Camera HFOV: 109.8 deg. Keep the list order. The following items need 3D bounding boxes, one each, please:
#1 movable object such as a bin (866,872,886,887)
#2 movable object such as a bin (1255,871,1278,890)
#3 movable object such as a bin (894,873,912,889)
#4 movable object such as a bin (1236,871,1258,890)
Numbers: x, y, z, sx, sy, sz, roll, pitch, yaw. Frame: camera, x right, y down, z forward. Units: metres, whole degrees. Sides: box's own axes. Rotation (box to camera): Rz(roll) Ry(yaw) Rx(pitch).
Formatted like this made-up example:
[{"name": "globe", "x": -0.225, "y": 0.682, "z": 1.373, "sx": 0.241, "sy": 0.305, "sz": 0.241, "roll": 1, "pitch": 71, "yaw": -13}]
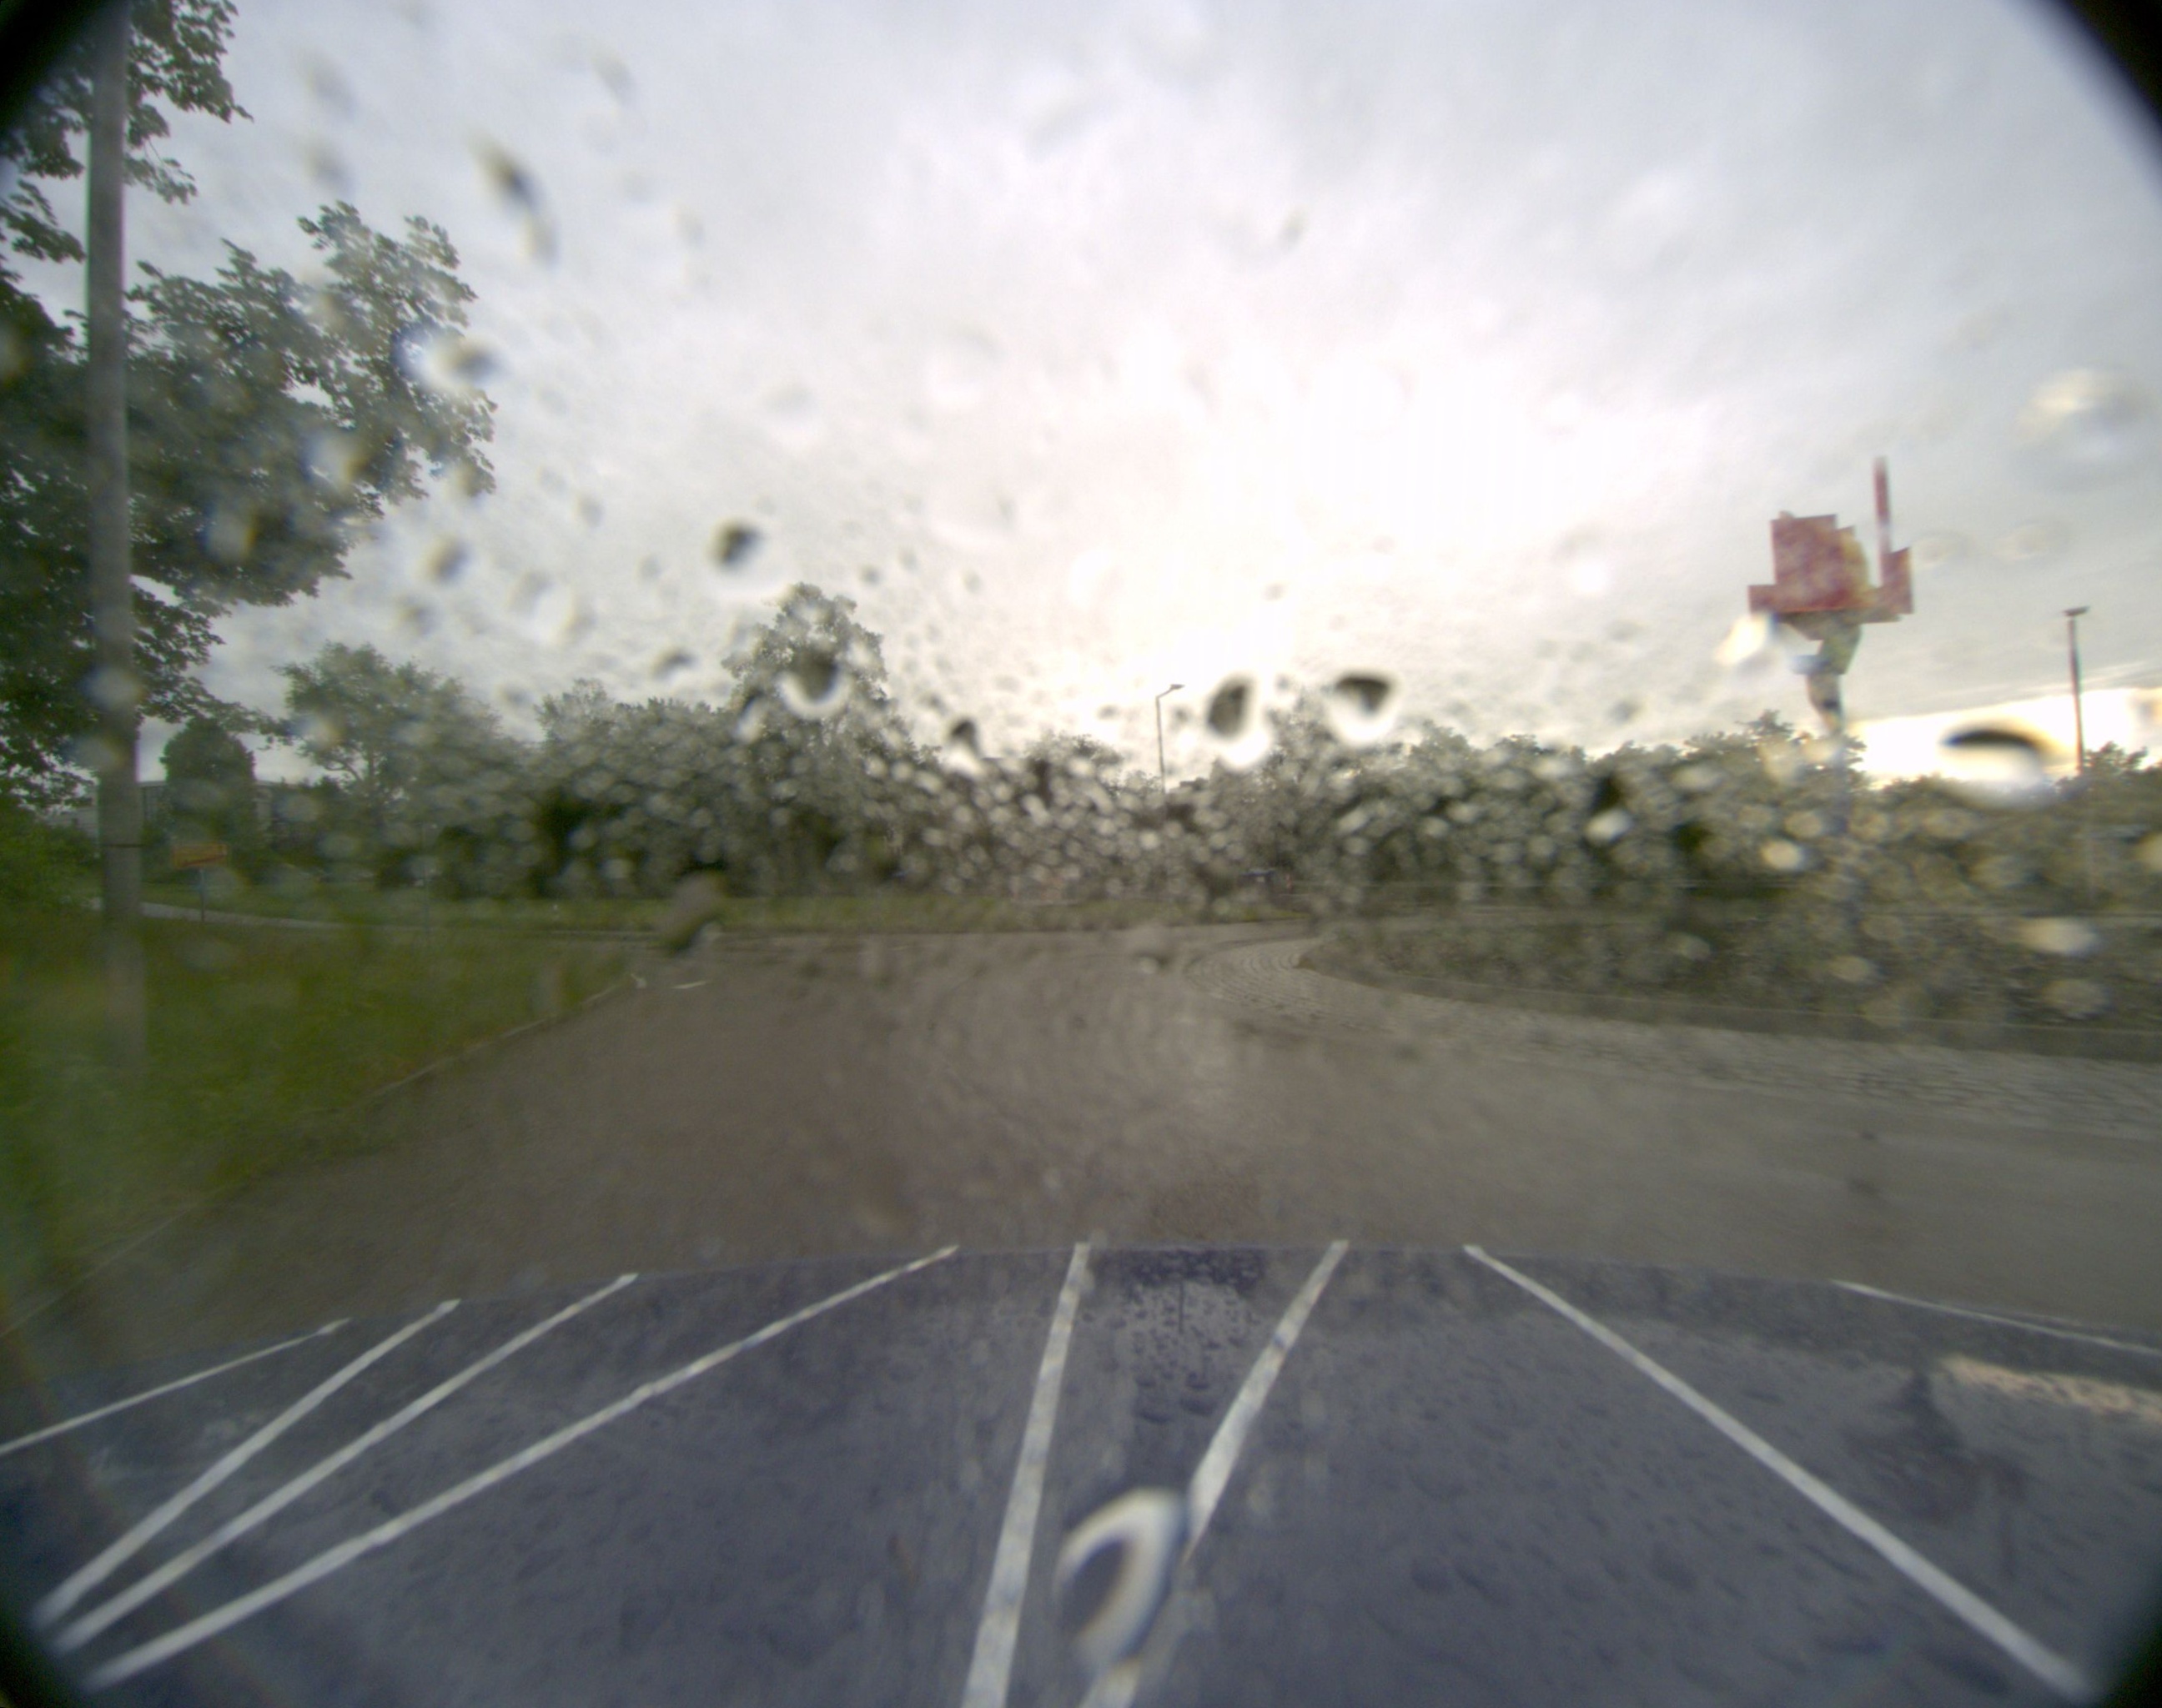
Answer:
[{"name": "movable object such as a bin", "x": -20.065, "y": 2.505, "z": 74.273, "sx": 1.424, "sy": 1.428, "sz": 1.200, "roll": -2, "pitch": -1, "yaw": 36}, {"name": "movable object such as a bin", "x": 13.918, "y": 2.019, "z": 57.068, "sx": 1.200, "sy": 1.334, "sz": 1.072, "roll": -5, "pitch": 1, "yaw": -38}, {"name": "movable object such as a bin", "x": -16.986, "y": 2.579, "z": 72.582, "sx": 1.072, "sy": 1.429, "sz": 1.200, "roll": -2, "pitch": 1, "yaw": 36}, {"name": "movable object such as a bin", "x": 12.644, "y": 2.009, "z": 57.948, "sx": 1.200, "sy": 1.428, "sz": 1.072, "roll": -2, "pitch": 0, "yaw": -40}]
